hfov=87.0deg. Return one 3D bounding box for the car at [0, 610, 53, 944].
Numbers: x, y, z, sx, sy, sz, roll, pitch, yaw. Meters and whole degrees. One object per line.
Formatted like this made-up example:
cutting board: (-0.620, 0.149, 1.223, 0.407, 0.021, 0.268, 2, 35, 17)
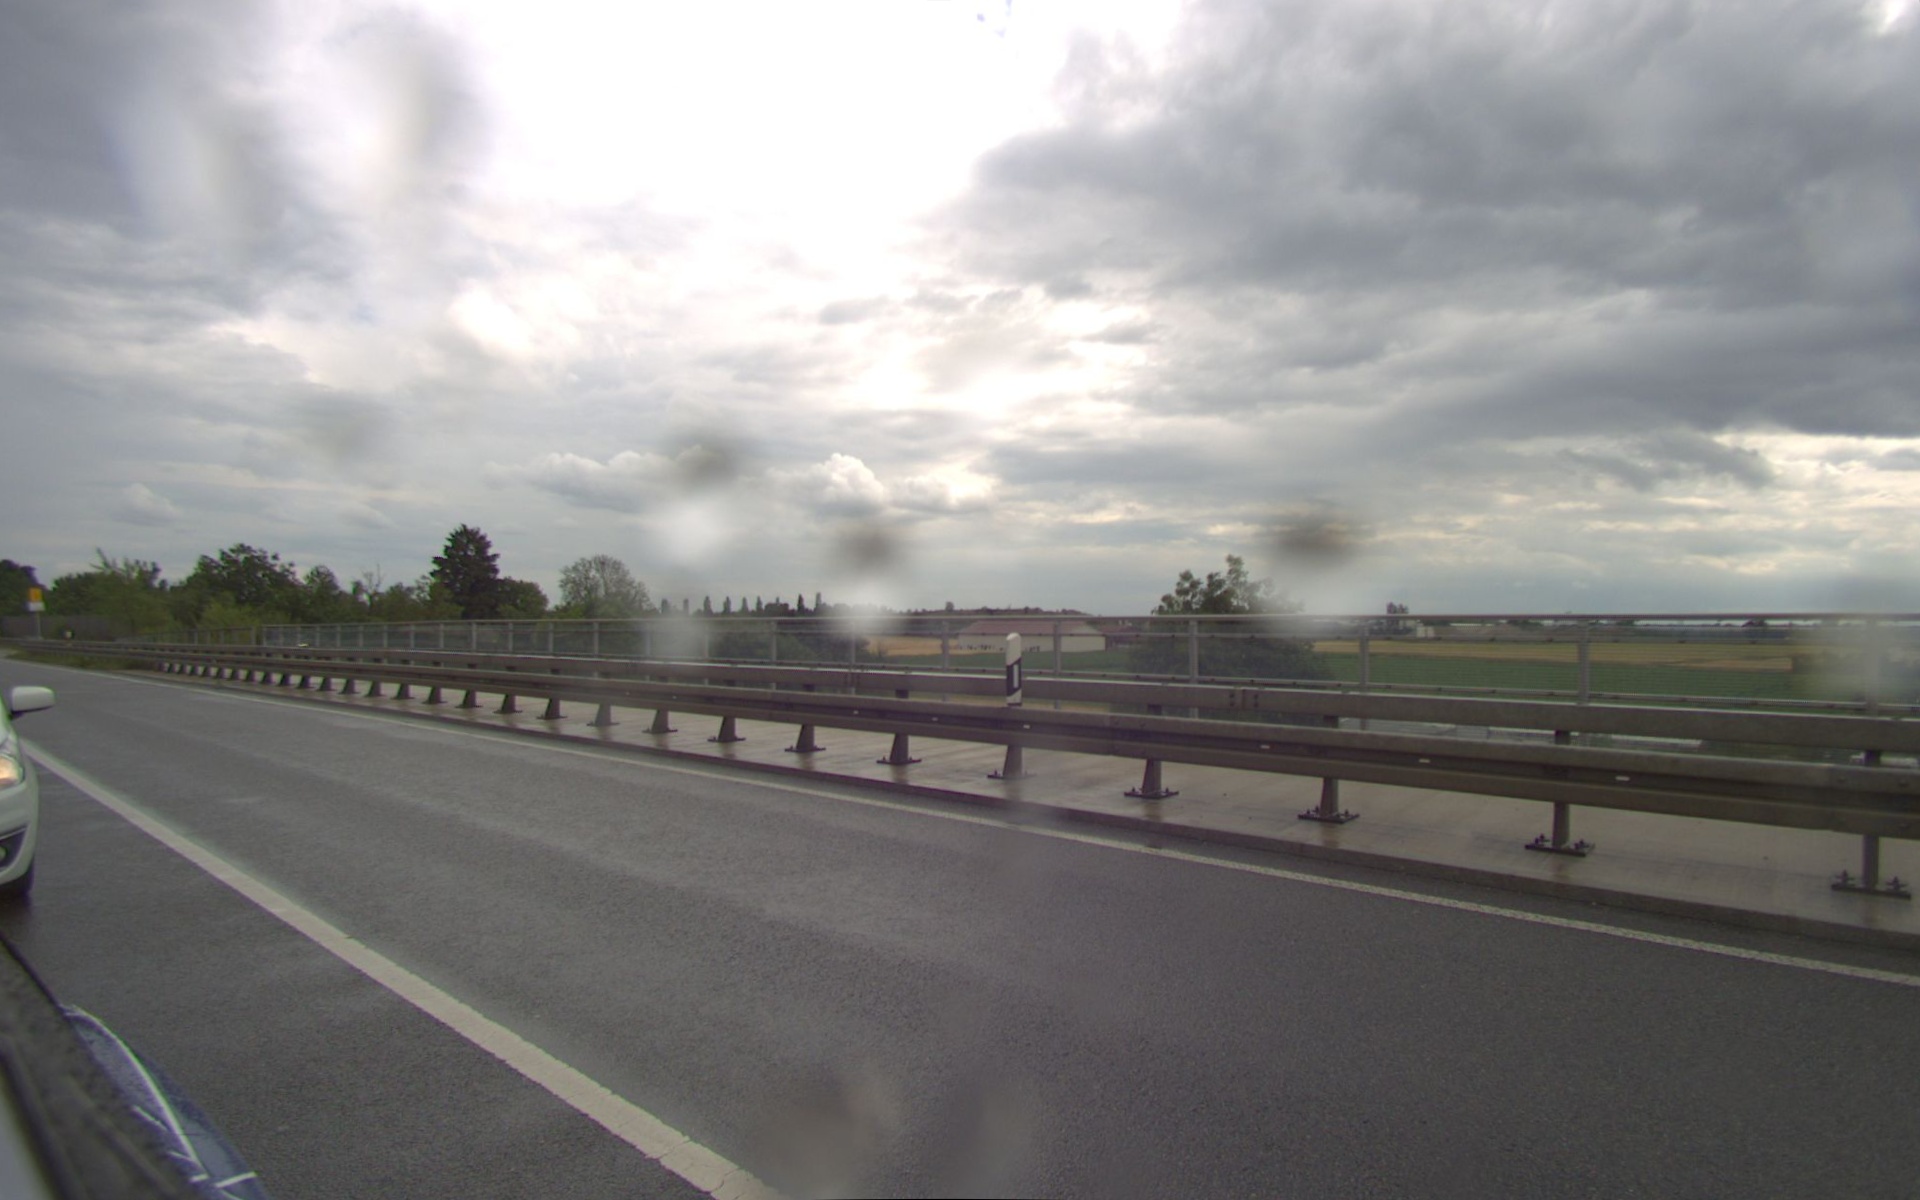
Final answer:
car: (-6.285, 0.823, 5.409, 4.127, 1.496, 1.653, -1, 0, 41)
